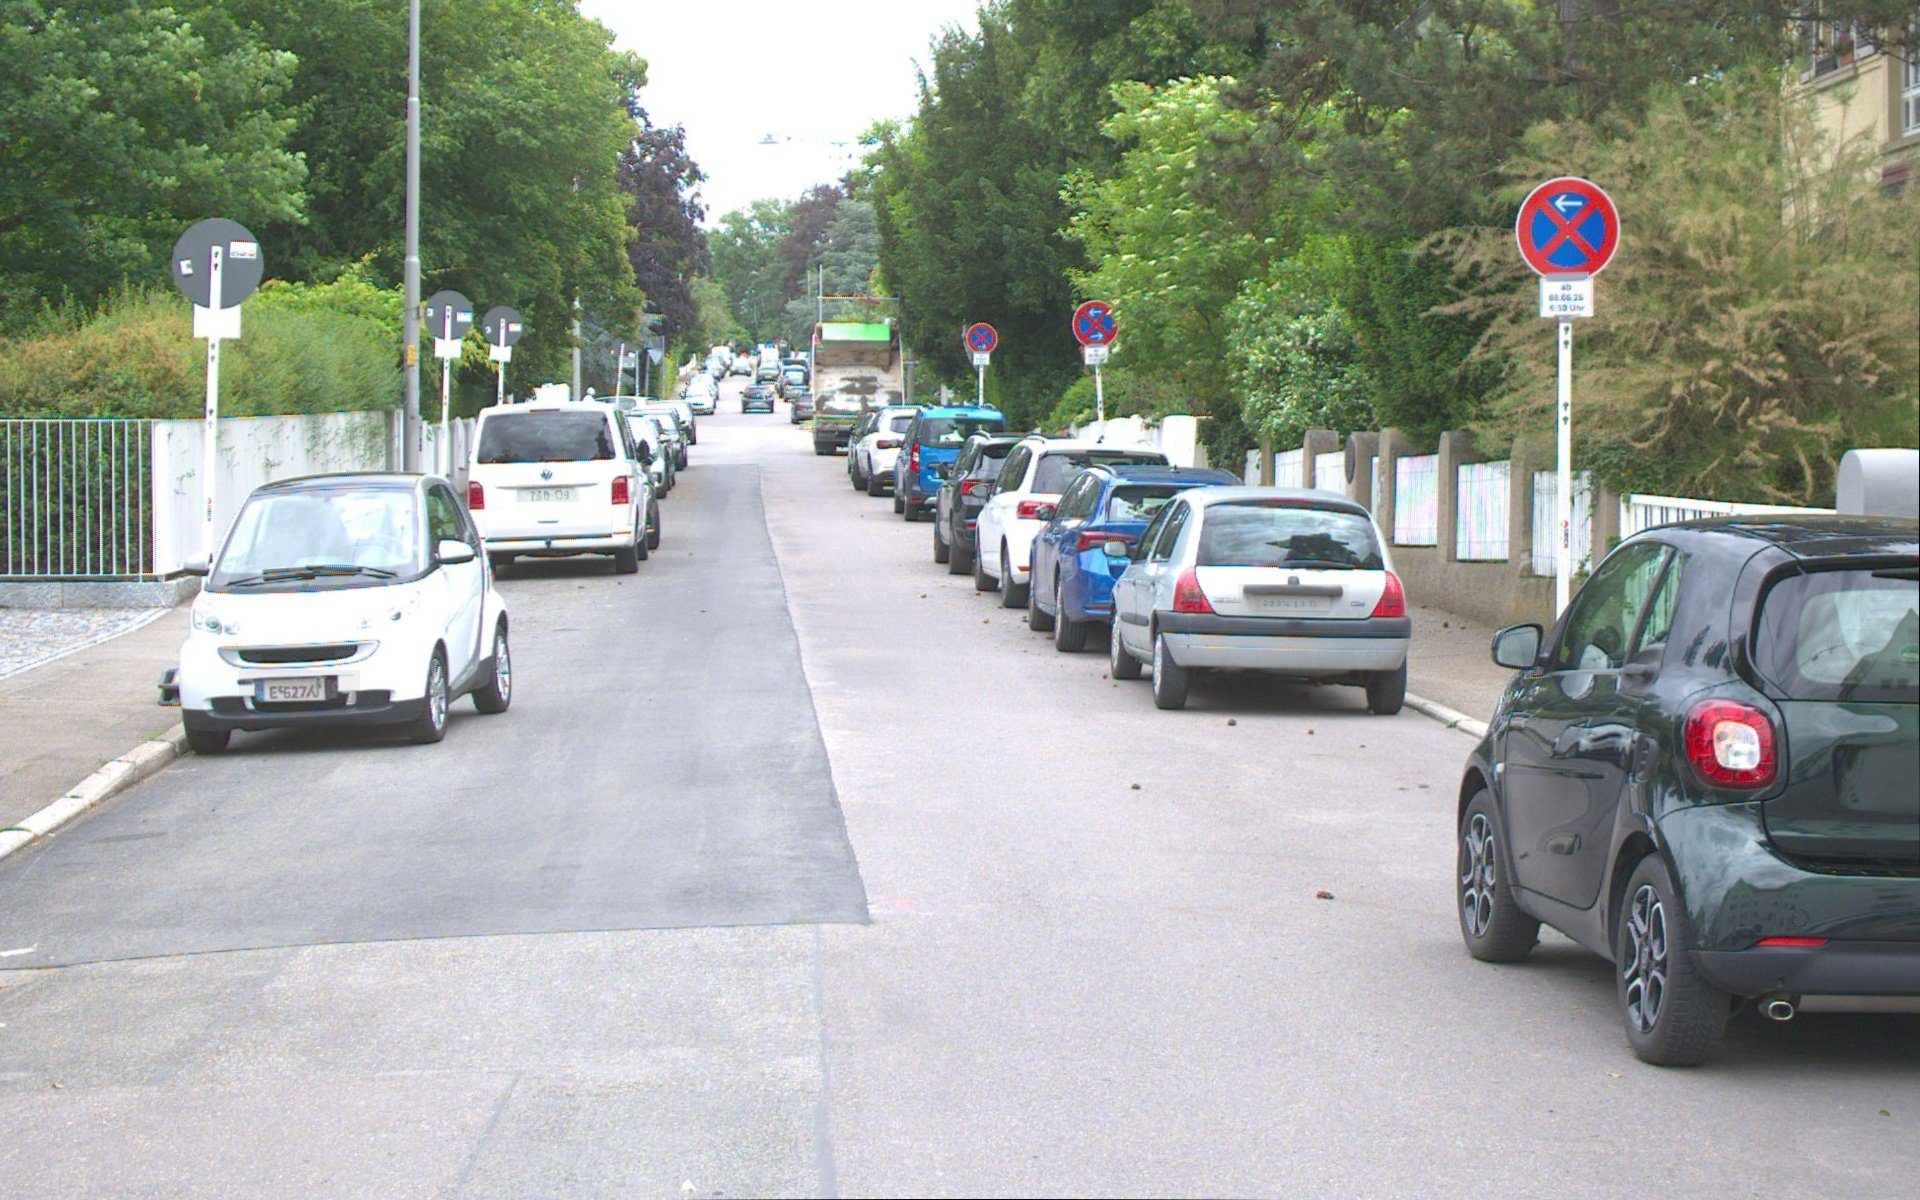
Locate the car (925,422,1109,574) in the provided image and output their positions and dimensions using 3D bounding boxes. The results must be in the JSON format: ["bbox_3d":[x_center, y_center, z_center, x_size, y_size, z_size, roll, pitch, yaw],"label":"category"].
[{"bbox_3d":[0.612,-1.238,40.373,1.750,1.602,4.077,3,3,-4],"label":"car"}]

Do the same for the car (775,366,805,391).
[{"bbox_3d":[-10.771,-14.062,217.706,1.789,1.524,3.735,1,4,-2],"label":"car"}]

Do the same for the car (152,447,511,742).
[{"bbox_3d":[-3.703,-0.088,20.655,1.443,1.546,2.770,-2,4,3],"label":"car"}]

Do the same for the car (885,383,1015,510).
[{"bbox_3d":[-0.190,-2.470,54.483,1.682,1.822,4.158,3,4,-4],"label":"car"}]

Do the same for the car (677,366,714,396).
[{"bbox_3d":[-14.191,-11.786,184.895,1.711,1.580,4.001,1,4,-1],"label":"car"}]

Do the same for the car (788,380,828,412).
[{"bbox_3d":[-7.314,-9.828,165.388,1.778,1.483,4.002,1,4,-5],"label":"car"}]

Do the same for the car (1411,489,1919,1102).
[{"bbox_3d":[2.552,0.505,10.630,1.571,1.526,2.869,3,3,-6],"label":"car"}]

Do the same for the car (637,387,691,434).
[{"bbox_3d":[-9.371,-6.018,108.906,1.636,1.390,3.990,-2,4,-5],"label":"car"}]

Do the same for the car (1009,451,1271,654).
[{"bbox_3d":[1.398,-0.444,28.143,1.647,1.453,4.053,2,3,-3],"label":"car"}]

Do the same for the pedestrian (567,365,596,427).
[{"bbox_3d":[-12.569,-6.780,114.149,0.852,2.006,0.701,2,3,-8],"label":"pedestrian"}]

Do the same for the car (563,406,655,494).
[{"bbox_3d":[-6.598,-2.840,64.484,1.621,1.527,2.964,-2,4,-7],"label":"car"}]

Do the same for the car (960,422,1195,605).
[{"bbox_3d":[1.109,-0.922,34.454,1.784,1.597,4.306,2,3,-5],"label":"car"}]

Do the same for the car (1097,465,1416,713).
[{"bbox_3d":[1.907,-0.137,23.104,1.573,1.395,3.656,2,3,-3],"label":"car"}]

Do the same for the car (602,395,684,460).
[{"bbox_3d":[-7.533,-4.127,81.995,1.640,1.417,4.551,-2,4,-2],"label":"car"}]

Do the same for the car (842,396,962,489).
[{"bbox_3d":[-1.143,-3.027,65.527,1.757,1.600,4.577,2,4,-7],"label":"car"}]

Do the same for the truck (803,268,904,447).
[{"bbox_3d":[-3.024,-6.745,95.981,2.524,4.731,7.189,2,4,-3],"label":"truck"}]

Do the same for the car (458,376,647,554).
[{"bbox_3d":[-4.681,-1.610,40.051,1.854,1.906,4.621,-2,3,-3],"label":"car"}]

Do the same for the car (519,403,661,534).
[{"bbox_3d":[-4.968,-1.810,46.249,1.790,1.617,4.345,-1,4,-6],"label":"car"}]

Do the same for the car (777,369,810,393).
[{"bbox_3d":[-10.119,-13.313,208.862,1.810,1.331,3.634,2,5,-5],"label":"car"}]

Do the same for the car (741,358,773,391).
[{"bbox_3d":[-10.958,-12.160,185.513,1.633,1.695,3.496,1,4,-4],"label":"car"}]
